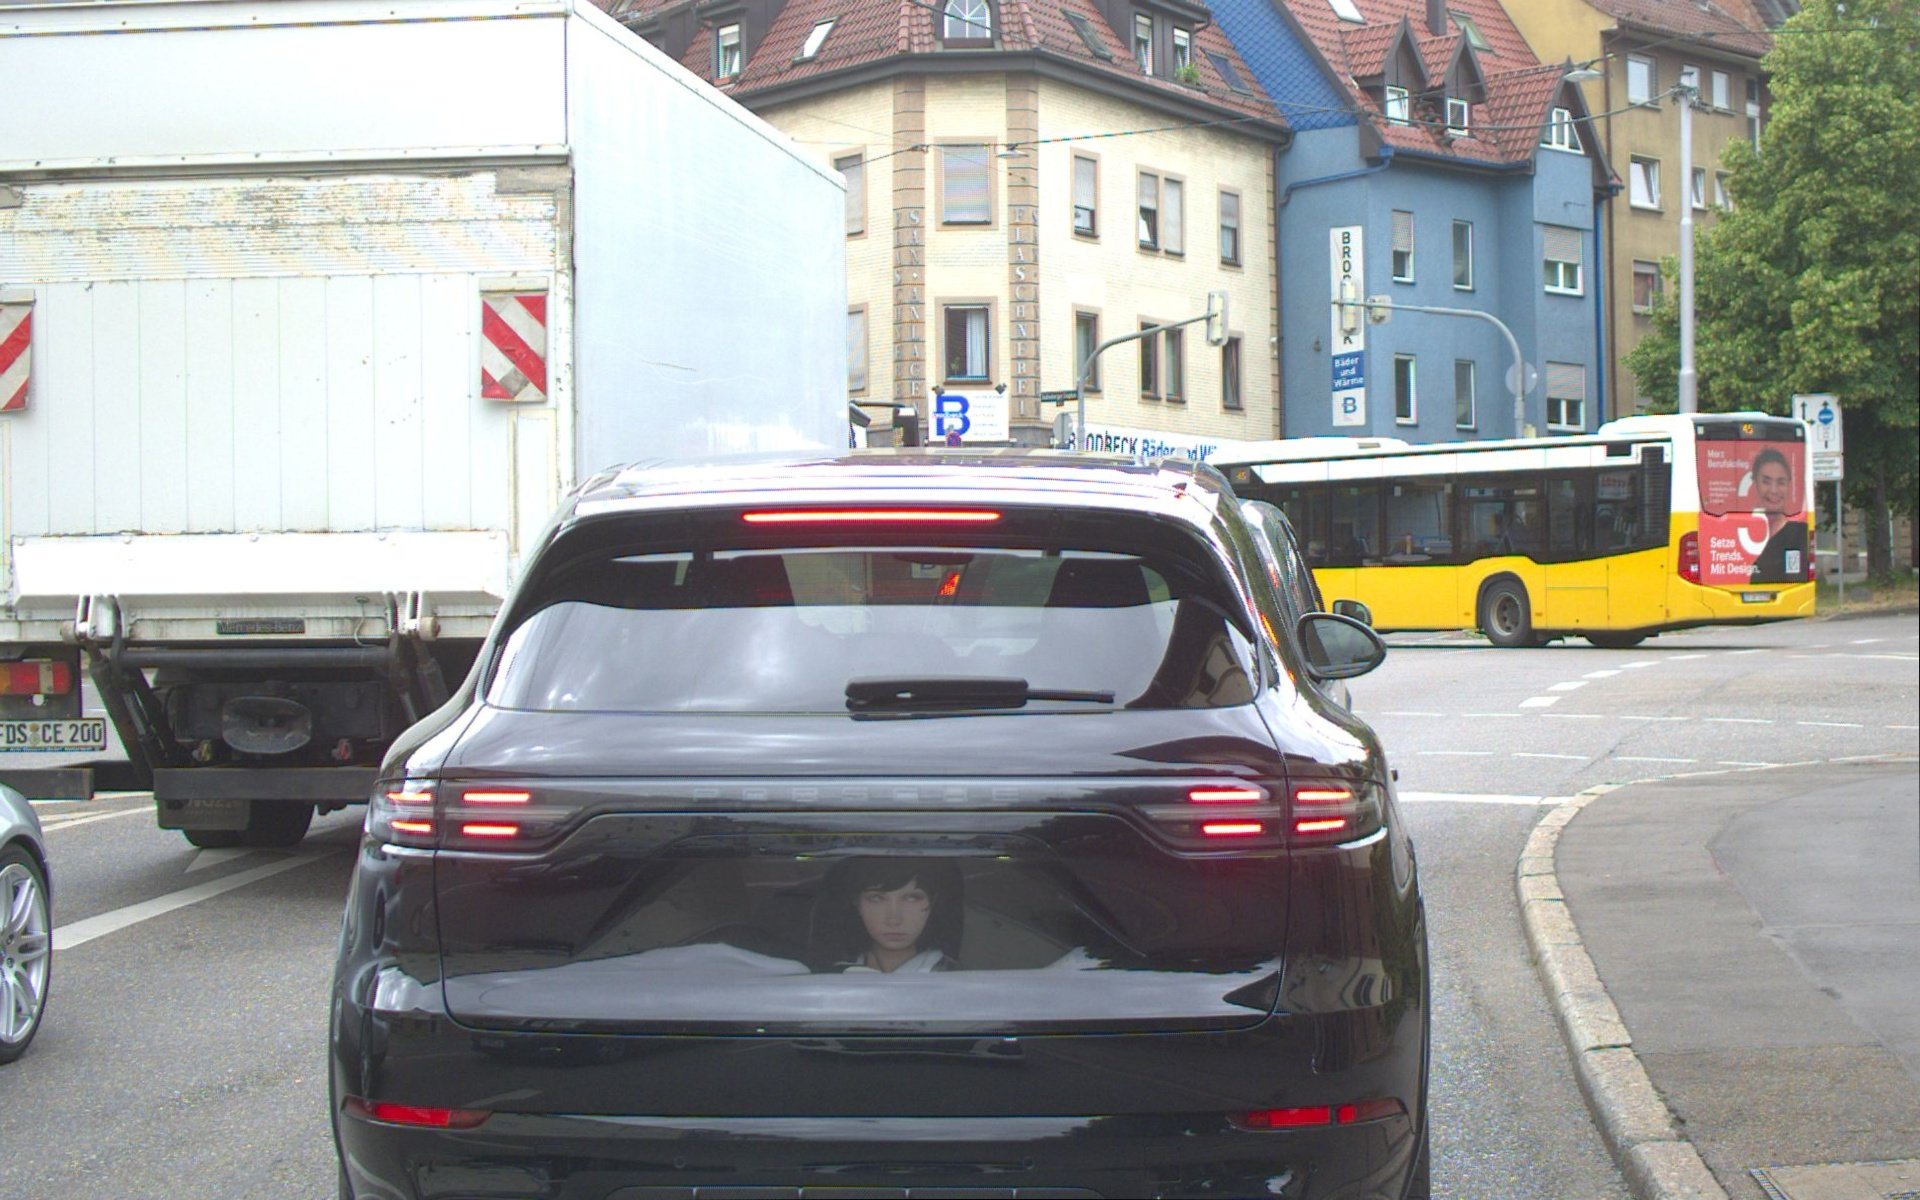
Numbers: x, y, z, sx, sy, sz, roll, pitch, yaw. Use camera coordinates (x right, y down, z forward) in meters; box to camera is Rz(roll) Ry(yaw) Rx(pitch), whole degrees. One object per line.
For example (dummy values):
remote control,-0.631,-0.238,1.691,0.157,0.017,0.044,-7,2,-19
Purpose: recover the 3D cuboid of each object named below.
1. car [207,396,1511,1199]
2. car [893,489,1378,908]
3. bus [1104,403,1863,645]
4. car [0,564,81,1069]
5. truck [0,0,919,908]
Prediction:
car,-0.081,0.509,7.642,2.032,1.717,4.500,1,1,2
car,0.869,0.350,14.774,1.649,1.550,3.581,1,1,10
bus,7.114,-0.965,49.629,3.158,3.085,12.149,-2,0,-36
car,-3.509,0.630,7.986,1.629,1.360,4.128,-1,1,4
truck,-2.203,-0.702,17.358,2.726,3.532,8.419,1,1,8
